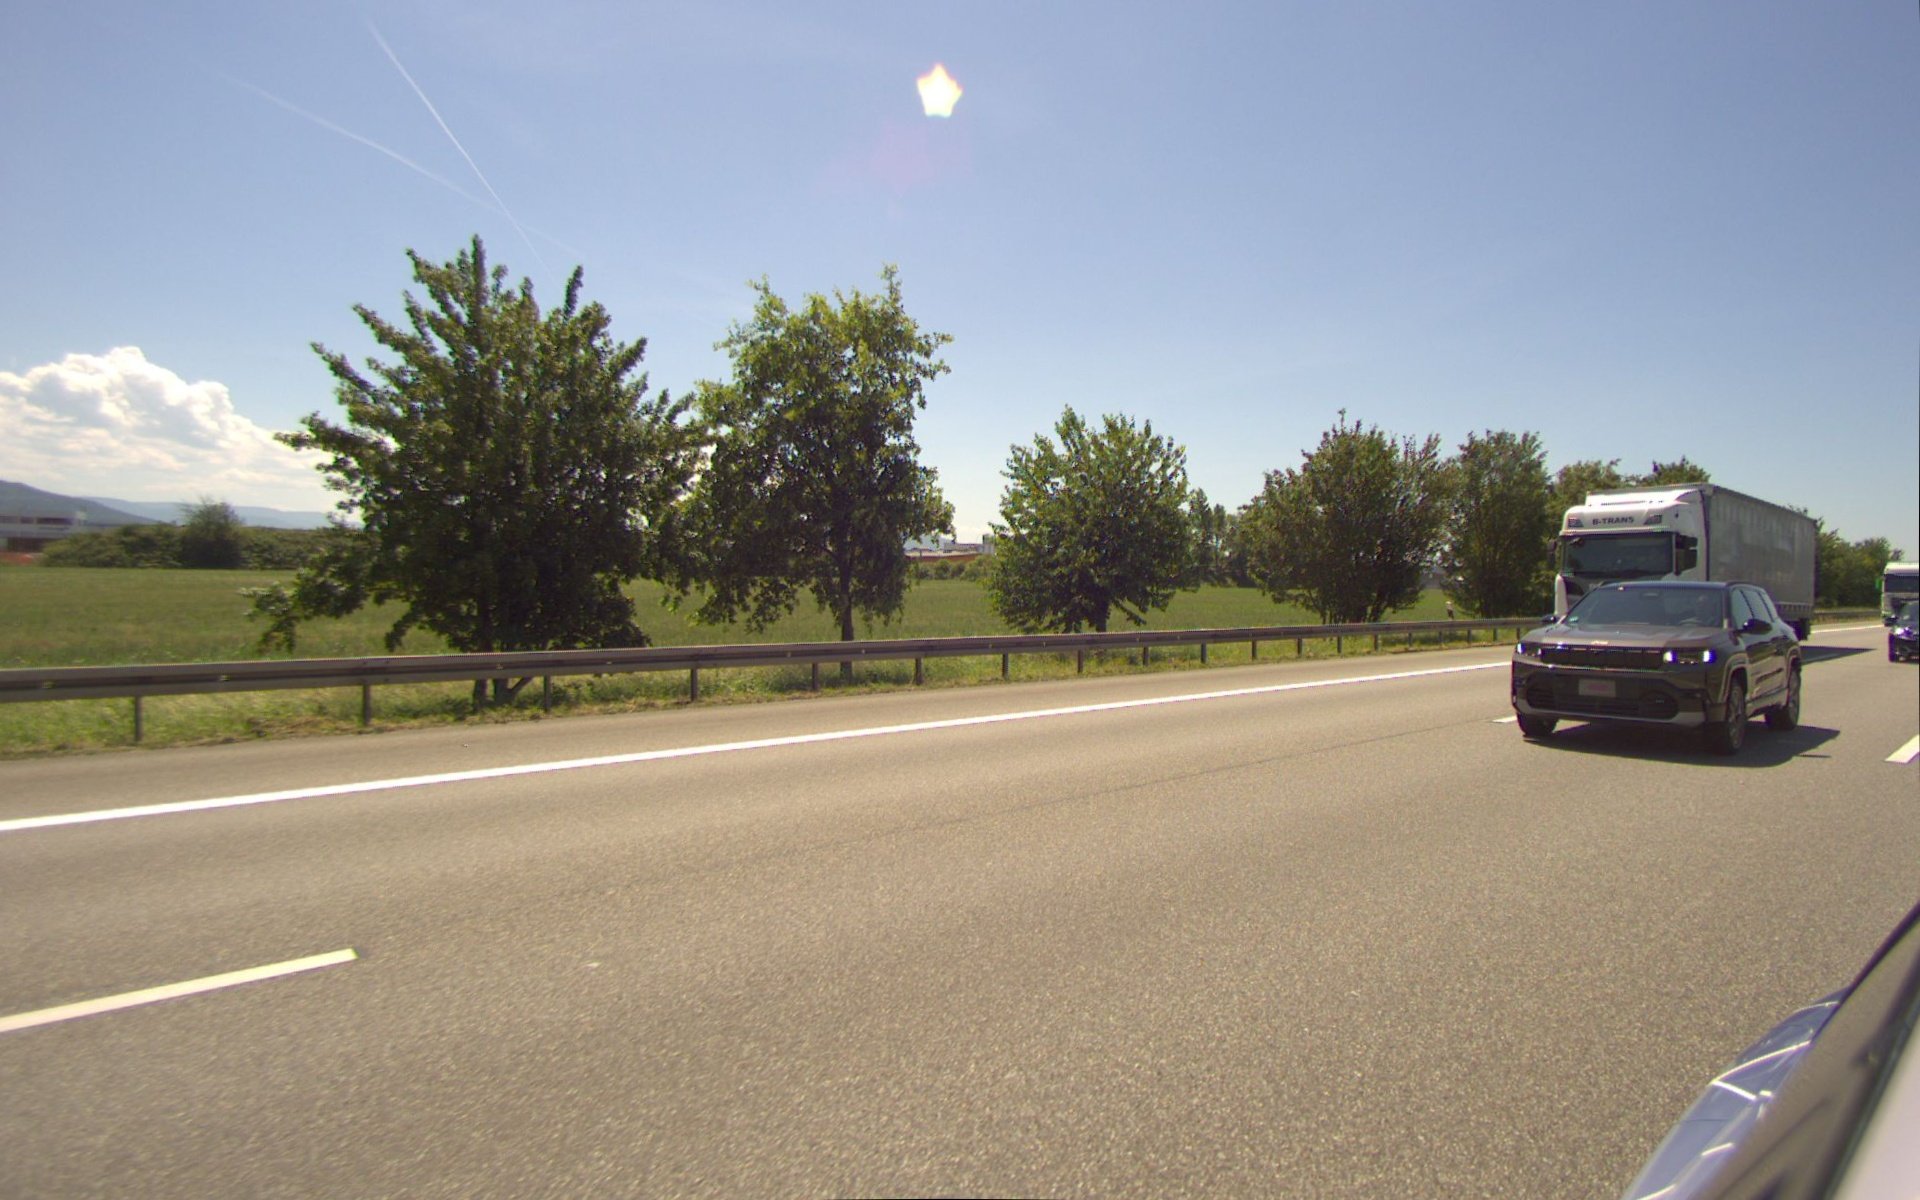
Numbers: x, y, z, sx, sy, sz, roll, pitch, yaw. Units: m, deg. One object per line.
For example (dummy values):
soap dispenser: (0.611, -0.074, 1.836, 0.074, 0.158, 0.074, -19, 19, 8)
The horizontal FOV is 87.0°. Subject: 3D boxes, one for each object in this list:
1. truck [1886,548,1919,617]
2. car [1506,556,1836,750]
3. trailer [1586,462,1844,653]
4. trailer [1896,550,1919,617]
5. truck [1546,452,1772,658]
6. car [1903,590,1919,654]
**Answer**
truck: (58.801, -1.009, 61.415, 7.563, 4.016, 2.699, 0, 0, -38)
car: (7.940, 0.445, 11.119, 4.662, 1.696, 1.871, 0, 0, -40)
trailer: (21.906, -1.019, 28.763, 14.002, 4.359, 2.815, 0, 0, -40)
trailer: (63.377, -1.013, 65.054, 13.706, 4.016, 2.699, 0, 0, -38)
truck: (17.235, -0.982, 24.763, 7.066, 4.359, 2.815, 0, 0, -40)
car: (23.837, 0.519, 24.128, 3.374, 1.492, 1.690, 0, 1, -42)
